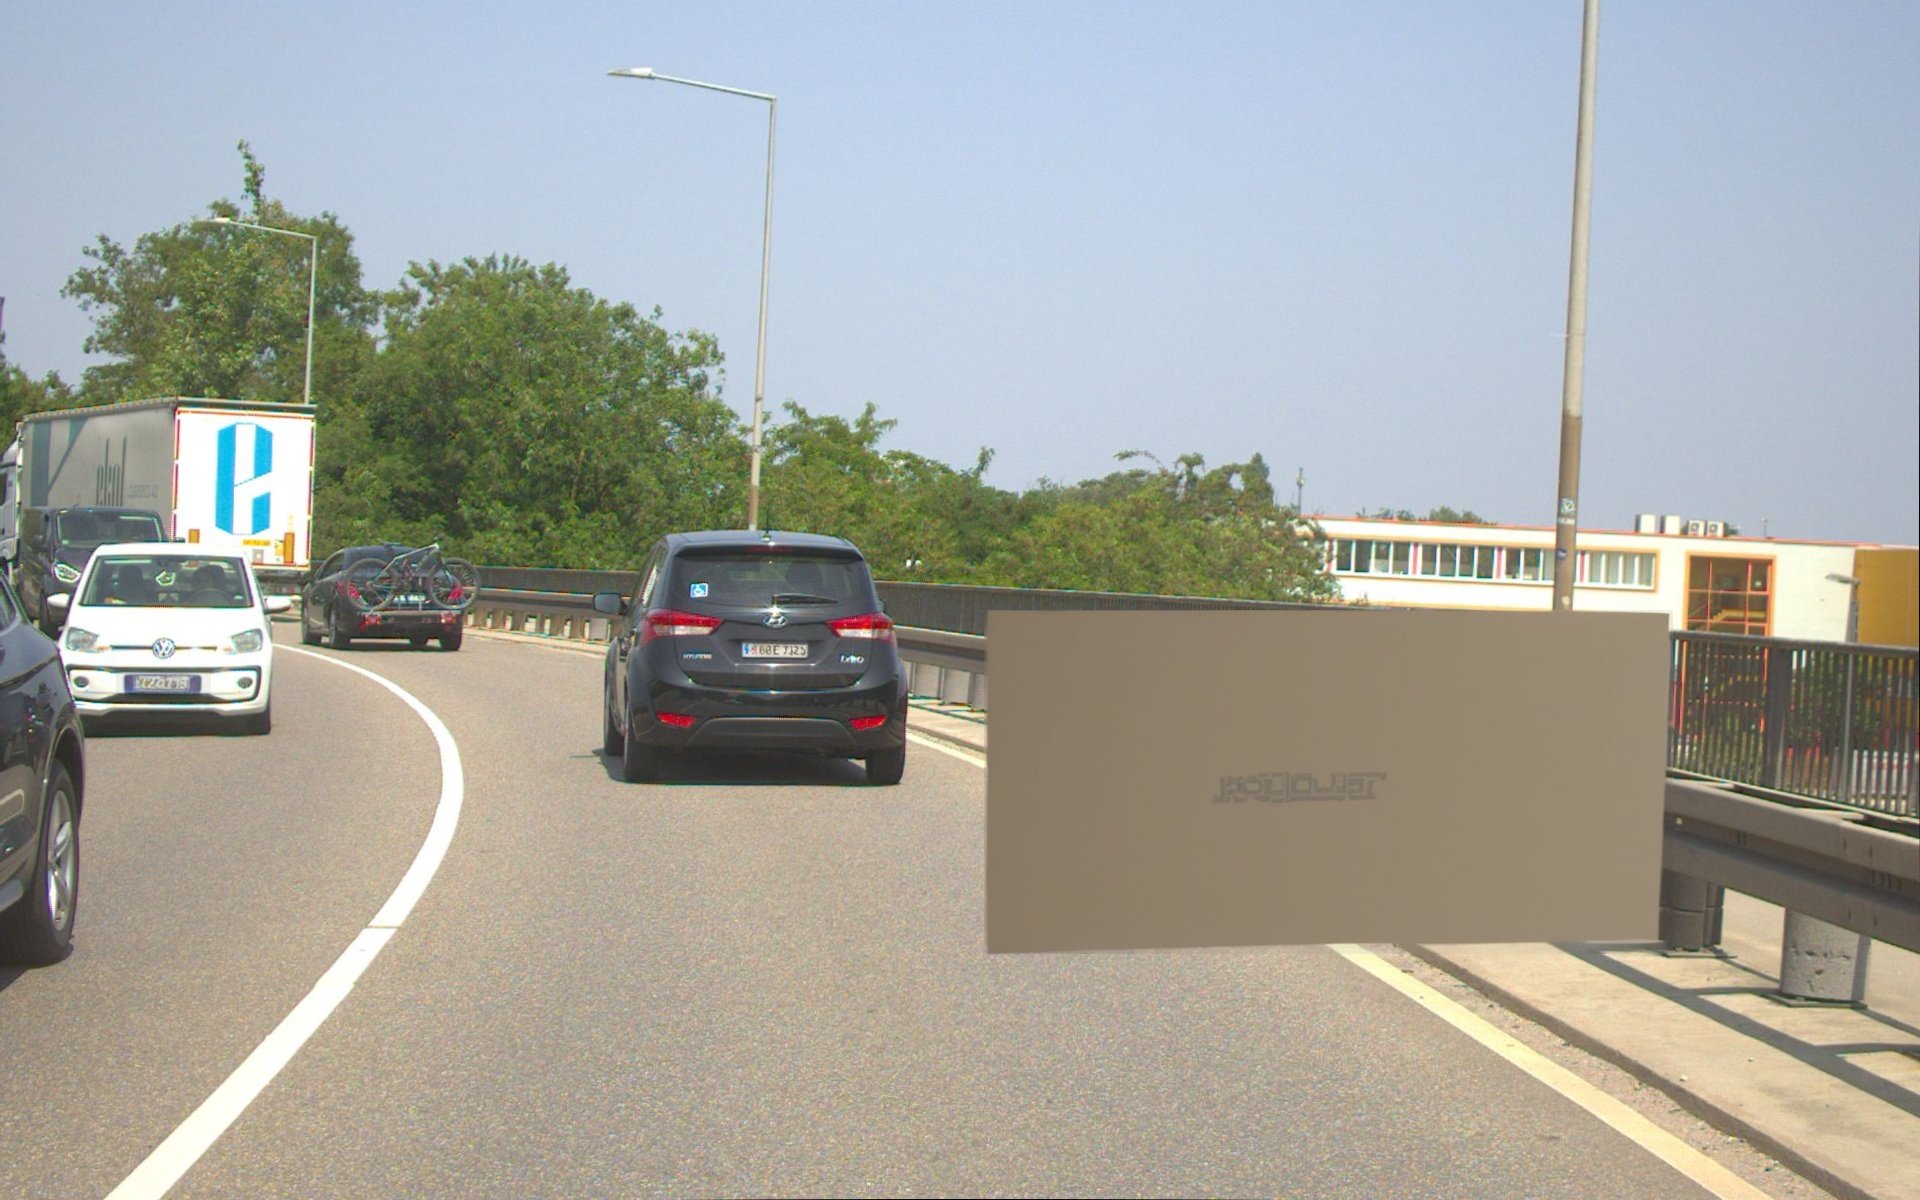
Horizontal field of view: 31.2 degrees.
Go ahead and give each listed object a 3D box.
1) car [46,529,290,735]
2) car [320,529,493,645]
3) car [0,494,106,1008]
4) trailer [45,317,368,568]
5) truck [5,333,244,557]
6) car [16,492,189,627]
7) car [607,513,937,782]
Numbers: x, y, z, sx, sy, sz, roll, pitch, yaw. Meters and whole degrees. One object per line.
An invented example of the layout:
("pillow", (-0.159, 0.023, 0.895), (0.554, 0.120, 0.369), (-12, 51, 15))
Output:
("car", (-6.212, 0.204, 27.247), (1.664, 1.459, 3.487), (1, 2, -10))
("car", (-7.583, -0.200, 46.840), (2.011, 1.424, 3.778), (1, 2, -14))
("car", (-3.935, 0.480, 10.532), (1.841, 1.630, 4.234), (0, 2, -4))
("trailer", (-14.821, -3.001, 66.655), (3.569, 4.369, 11.444), (1, 2, -25))
("truck", (-17.740, -3.238, 72.659), (3.572, 4.425, 6.517), (1, 2, -25))
("car", (-13.202, -0.618, 52.709), (2.006, 1.952, 5.272), (0, 1, -20))
("car", (-1.334, 0.245, 22.789), (1.921, 1.568, 3.892), (1, 2, -6))
